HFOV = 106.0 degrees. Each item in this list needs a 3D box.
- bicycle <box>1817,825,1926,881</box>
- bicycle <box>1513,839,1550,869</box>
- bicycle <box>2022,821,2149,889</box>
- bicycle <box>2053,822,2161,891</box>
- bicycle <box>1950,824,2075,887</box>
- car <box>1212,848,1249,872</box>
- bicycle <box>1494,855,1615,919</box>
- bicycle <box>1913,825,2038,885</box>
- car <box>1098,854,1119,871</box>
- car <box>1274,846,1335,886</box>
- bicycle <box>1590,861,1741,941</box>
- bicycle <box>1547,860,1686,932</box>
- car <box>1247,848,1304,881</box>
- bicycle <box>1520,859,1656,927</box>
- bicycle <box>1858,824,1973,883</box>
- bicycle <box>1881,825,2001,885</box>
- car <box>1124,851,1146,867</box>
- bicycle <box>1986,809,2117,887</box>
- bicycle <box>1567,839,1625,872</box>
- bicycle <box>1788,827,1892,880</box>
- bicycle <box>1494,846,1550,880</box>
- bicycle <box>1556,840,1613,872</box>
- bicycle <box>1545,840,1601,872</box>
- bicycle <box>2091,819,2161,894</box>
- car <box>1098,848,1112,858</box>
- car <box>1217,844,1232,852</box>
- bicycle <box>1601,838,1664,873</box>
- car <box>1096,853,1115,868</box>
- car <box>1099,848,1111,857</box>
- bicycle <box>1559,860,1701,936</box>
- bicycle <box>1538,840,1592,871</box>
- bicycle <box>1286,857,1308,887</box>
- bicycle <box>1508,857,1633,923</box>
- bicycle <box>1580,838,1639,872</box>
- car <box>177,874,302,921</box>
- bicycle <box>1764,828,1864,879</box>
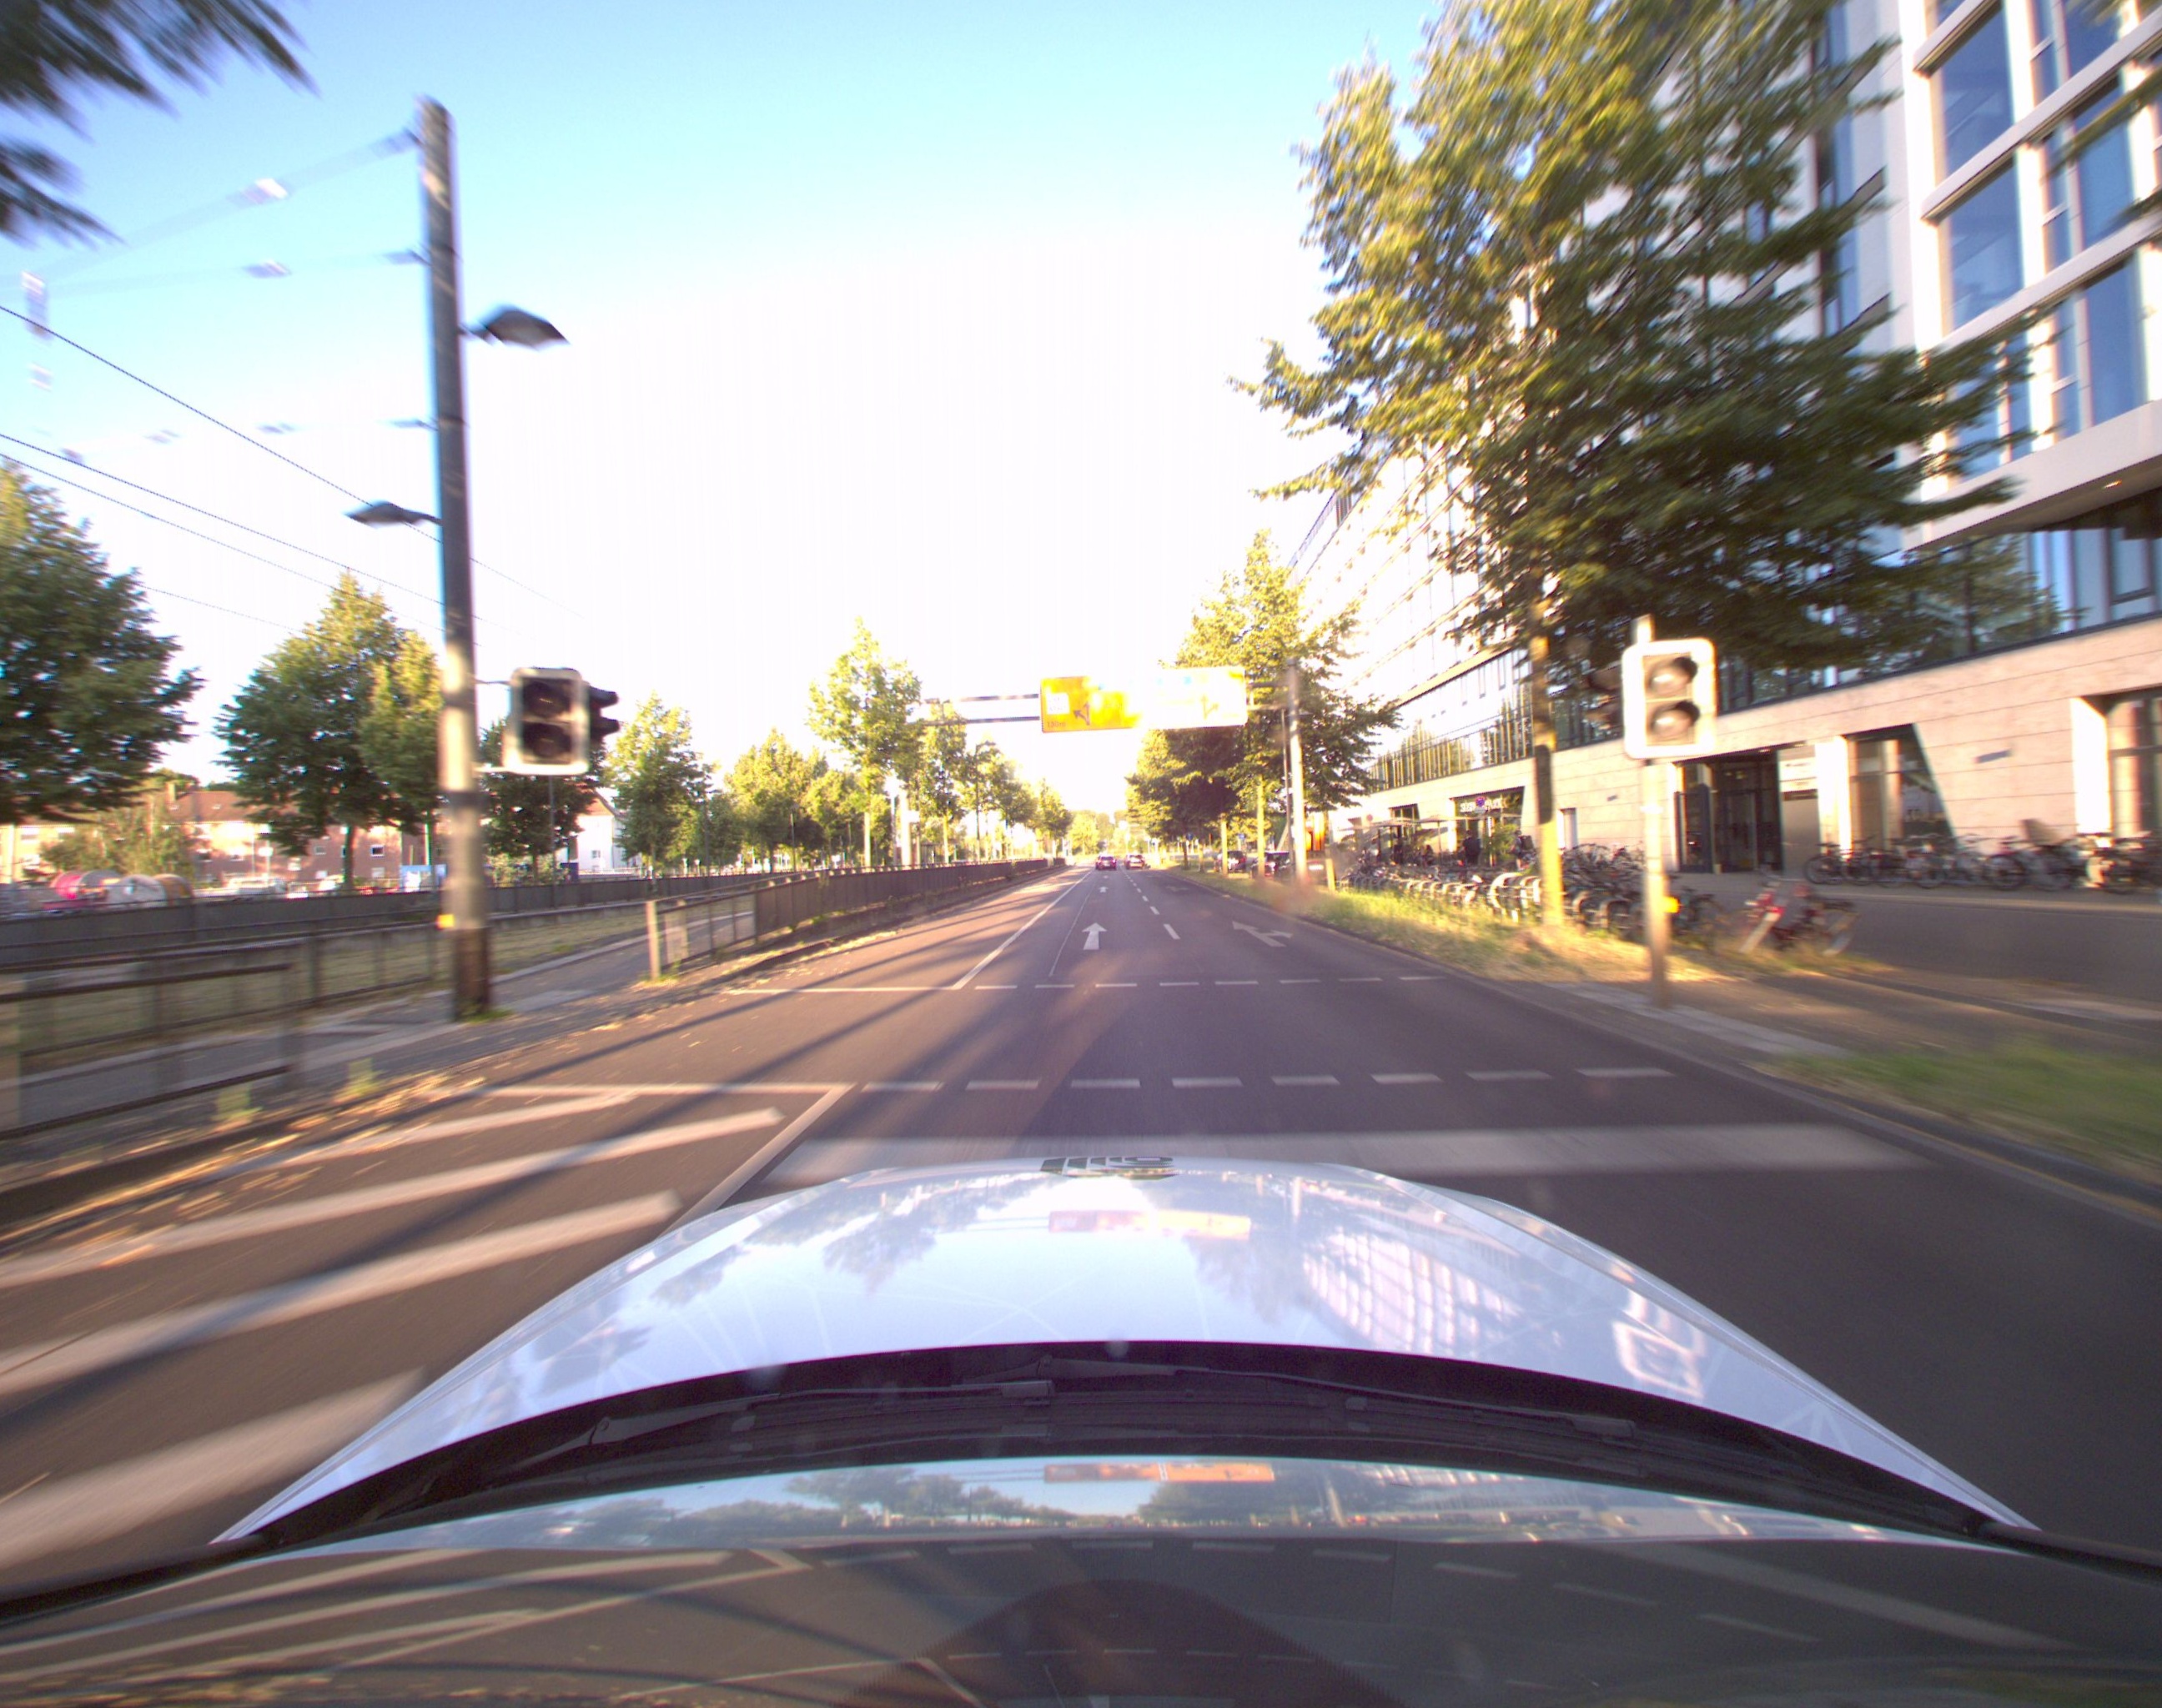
[{"bbox_3d":[17.841,-0.016,18.386,1.977,1.168,0.503,-2,0,-2],"label":"bicycle"},{"bbox_3d":[19.430,0.002,35.164,0.467,1.208,2.266,-2,0,6],"label":"bicycle"},{"bbox_3d":[17.933,0.018,14.553,1.825,1.124,0.372,-2,0,-2],"label":"bicycle"},{"bbox_3d":[17.995,0.039,14.065,1.825,1.113,0.503,-2,0,-2],"label":"bicycle"},{"bbox_3d":[17.834,0.025,15.609,1.825,1.121,0.503,-2,0,-2],"label":"bicycle"},{"bbox_3d":[10.168,0.399,55.669,1.751,1.466,4.157,-2,0,0],"label":"car"},{"bbox_3d":[8.227,0.571,14.165,1.939,1.054,0.408,1,0,-6],"label":"bicycle"},{"bbox_3d":[17.884,0.025,16.294,1.977,1.100,0.503,-2,0,-2],"label":"bicycle"},{"bbox_3d":[2.619,0.765,78.272,1.905,1.486,4.001,-2,0,1],"label":"car"},{"bbox_3d":[9.109,0.470,33.429,1.569,1.472,3.884,-2,0,3],"label":"car"},{"bbox_3d":[8.094,0.645,11.280,1.944,1.054,0.543,1,0,-13],"label":"bicycle"},{"bbox_3d":[8.249,0.642,12.558,1.941,1.054,0.543,1,0,-9],"label":"bicycle"},{"bbox_3d":[9.535,0.486,40.326,1.772,1.472,4.288,-2,0,0],"label":"car"},{"bbox_3d":[8.202,0.624,13.195,1.939,1.054,0.544,1,0,-6],"label":"bicycle"},{"bbox_3d":[17.971,-0.015,17.559,1.977,1.182,0.503,-2,0,-2],"label":"bicycle"},{"bbox_3d":[17.908,0.020,16.966,1.977,1.141,0.503,-2,0,-2],"label":"bicycle"},{"bbox_3d":[5.319,0.504,80.710,1.905,1.486,4.001,-2,0,1],"label":"car"},{"bbox_3d":[17.919,-0.110,15.056,1.825,1.357,0.503,-2,0,-2],"label":"bicycle"},{"bbox_3d":[18.505,0.049,29.285,1.780,1.104,0.508,-2,0,-3],"label":"bicycle"},{"bbox_3d":[17.809,-0.012,19.116,1.977,1.141,0.503,-2,0,-2],"label":"bicycle"},{"bbox_3d":[14.972,0.293,27.709,0.769,1.079,2.063,-2,0,0],"label":"bicycle"},{"bbox_3d":[18.513,0.086,29.956,1.780,1.104,0.508,-2,0,-3],"label":"bicycle"},{"bbox_3d":[18.580,0.075,30.763,1.780,1.104,0.508,-2,0,-3],"label":"bicycle"},{"bbox_3d":[17.900,0.016,13.446,1.825,1.177,0.503,-2,0,-2],"label":"bicycle"},{"bbox_3d":[3.536,-0.153,119.397,1.905,1.486,4.001,-2,0,1],"label":"car"},{"bbox_3d":[29.776,-1.253,169.312,1.975,1.728,4.024,-2,0,26],"label":"car"},{"bbox_3d":[18.465,0.053,27.272,1.780,1.104,0.508,-2,0,-3],"label":"bicycle"},{"bbox_3d":[2.537,0.633,84.756,1.905,1.486,4.001,-2,0,1],"label":"car"},{"bbox_3d":[3.964,-0.289,136.249,1.905,1.486,4.001,-2,0,1],"label":"car"},{"bbox_3d":[8.004,0.644,11.884,1.944,1.054,0.543,1,0,-13],"label":"bicycle"},{"bbox_3d":[18.607,0.067,31.319,1.780,1.104,0.508,-2,0,-3],"label":"bicycle"},{"bbox_3d":[7.412,0.590,28.002,0.317,0.980,1.848,-2,0,3],"label":"bicycle"},{"bbox_3d":[8.238,0.598,13.718,1.939,1.054,0.408,1,0,-6],"label":"bicycle"},{"bbox_3d":[18.596,0.033,28.663,1.780,1.104,0.508,-2,0,-3],"label":"bicycle"},{"bbox_3d":[-45.232,2.254,44.017,2.425,2.224,5.874,-2,0,-22],"label":"car"},{"bbox_3d":[17.753,-0.019,19.732,1.977,1.141,0.503,-2,0,-2],"label":"bicycle"}]
